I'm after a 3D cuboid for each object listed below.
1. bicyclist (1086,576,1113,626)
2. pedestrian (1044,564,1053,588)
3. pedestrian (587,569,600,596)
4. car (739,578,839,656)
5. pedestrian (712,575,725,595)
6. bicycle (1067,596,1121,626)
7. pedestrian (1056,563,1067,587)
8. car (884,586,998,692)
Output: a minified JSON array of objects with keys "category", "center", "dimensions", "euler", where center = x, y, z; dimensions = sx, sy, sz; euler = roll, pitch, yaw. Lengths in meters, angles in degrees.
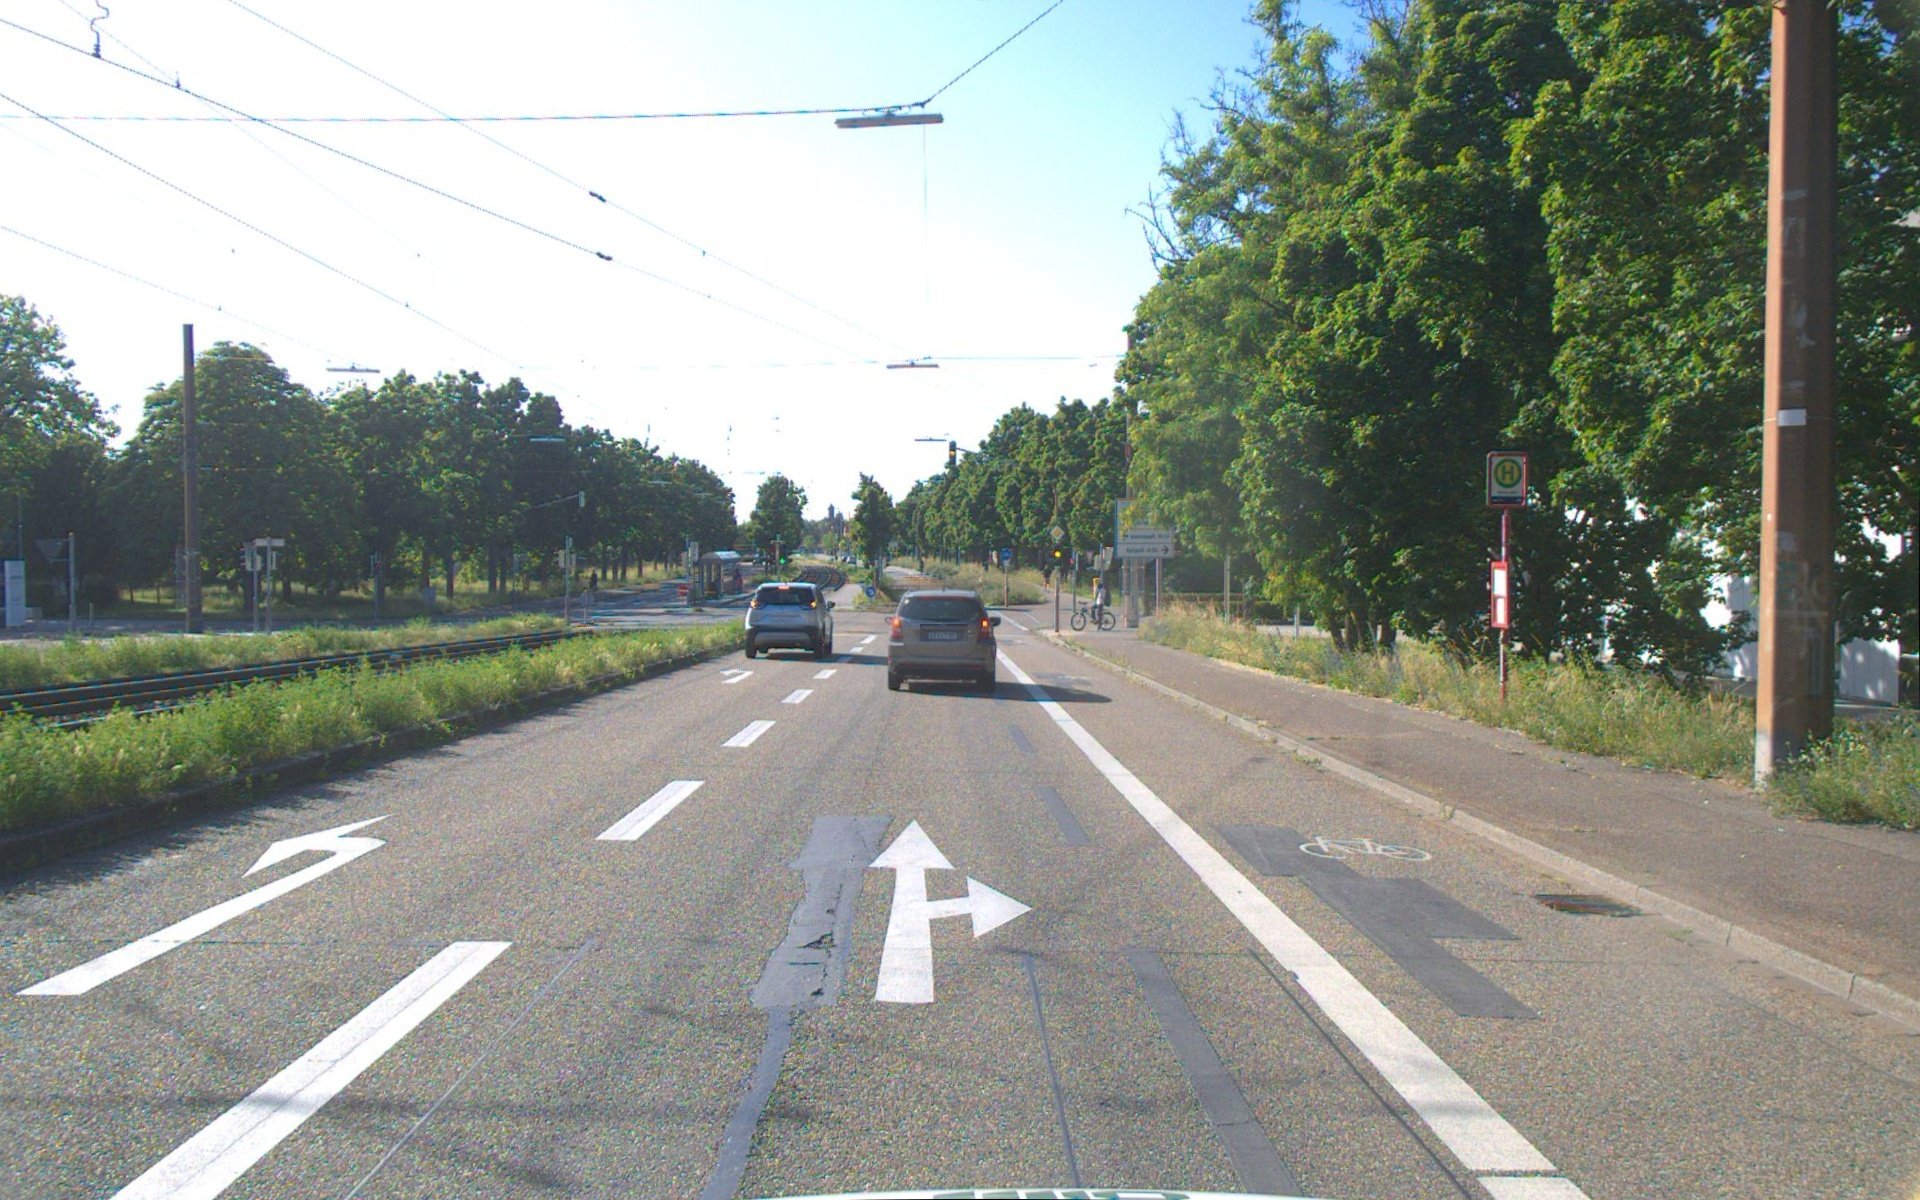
[{"category":"bicyclist","center":[5.098,0.033,60.520],"dimensions":[0.890,1.775,0.765],"euler":[-1,0,10]},{"category":"pedestrian","center":[6.262,-1.696,116.721],"dimensions":[0.556,1.624,0.665],"euler":[1,0,-4]},{"category":"pedestrian","center":[-28.049,-1.369,126.534],"dimensions":[0.823,2.049,0.863],"euler":[0,1,-2]},{"category":"car","center":[-3.750,0.340,36.887],"dimensions":[1.813,1.634,4.254],"euler":[0,1,-1]},{"category":"pedestrian","center":[-15.569,-0.995,106.543],"dimensions":[0.706,1.267,0.710],"euler":[-1,1,-3]},{"category":"bicycle","center":[4.902,0.414,60.558],"dimensions":[1.879,1.015,0.765],"euler":[-2,0,10]},{"category":"pedestrian","center":[7.141,-1.751,116.682],"dimensions":[0.664,1.638,0.720],"euler":[1,0,-3]},{"category":"car","center":[-0.278,0.551,26.395],"dimensions":[1.672,1.535,4.000],"euler":[1,1,0]}]
